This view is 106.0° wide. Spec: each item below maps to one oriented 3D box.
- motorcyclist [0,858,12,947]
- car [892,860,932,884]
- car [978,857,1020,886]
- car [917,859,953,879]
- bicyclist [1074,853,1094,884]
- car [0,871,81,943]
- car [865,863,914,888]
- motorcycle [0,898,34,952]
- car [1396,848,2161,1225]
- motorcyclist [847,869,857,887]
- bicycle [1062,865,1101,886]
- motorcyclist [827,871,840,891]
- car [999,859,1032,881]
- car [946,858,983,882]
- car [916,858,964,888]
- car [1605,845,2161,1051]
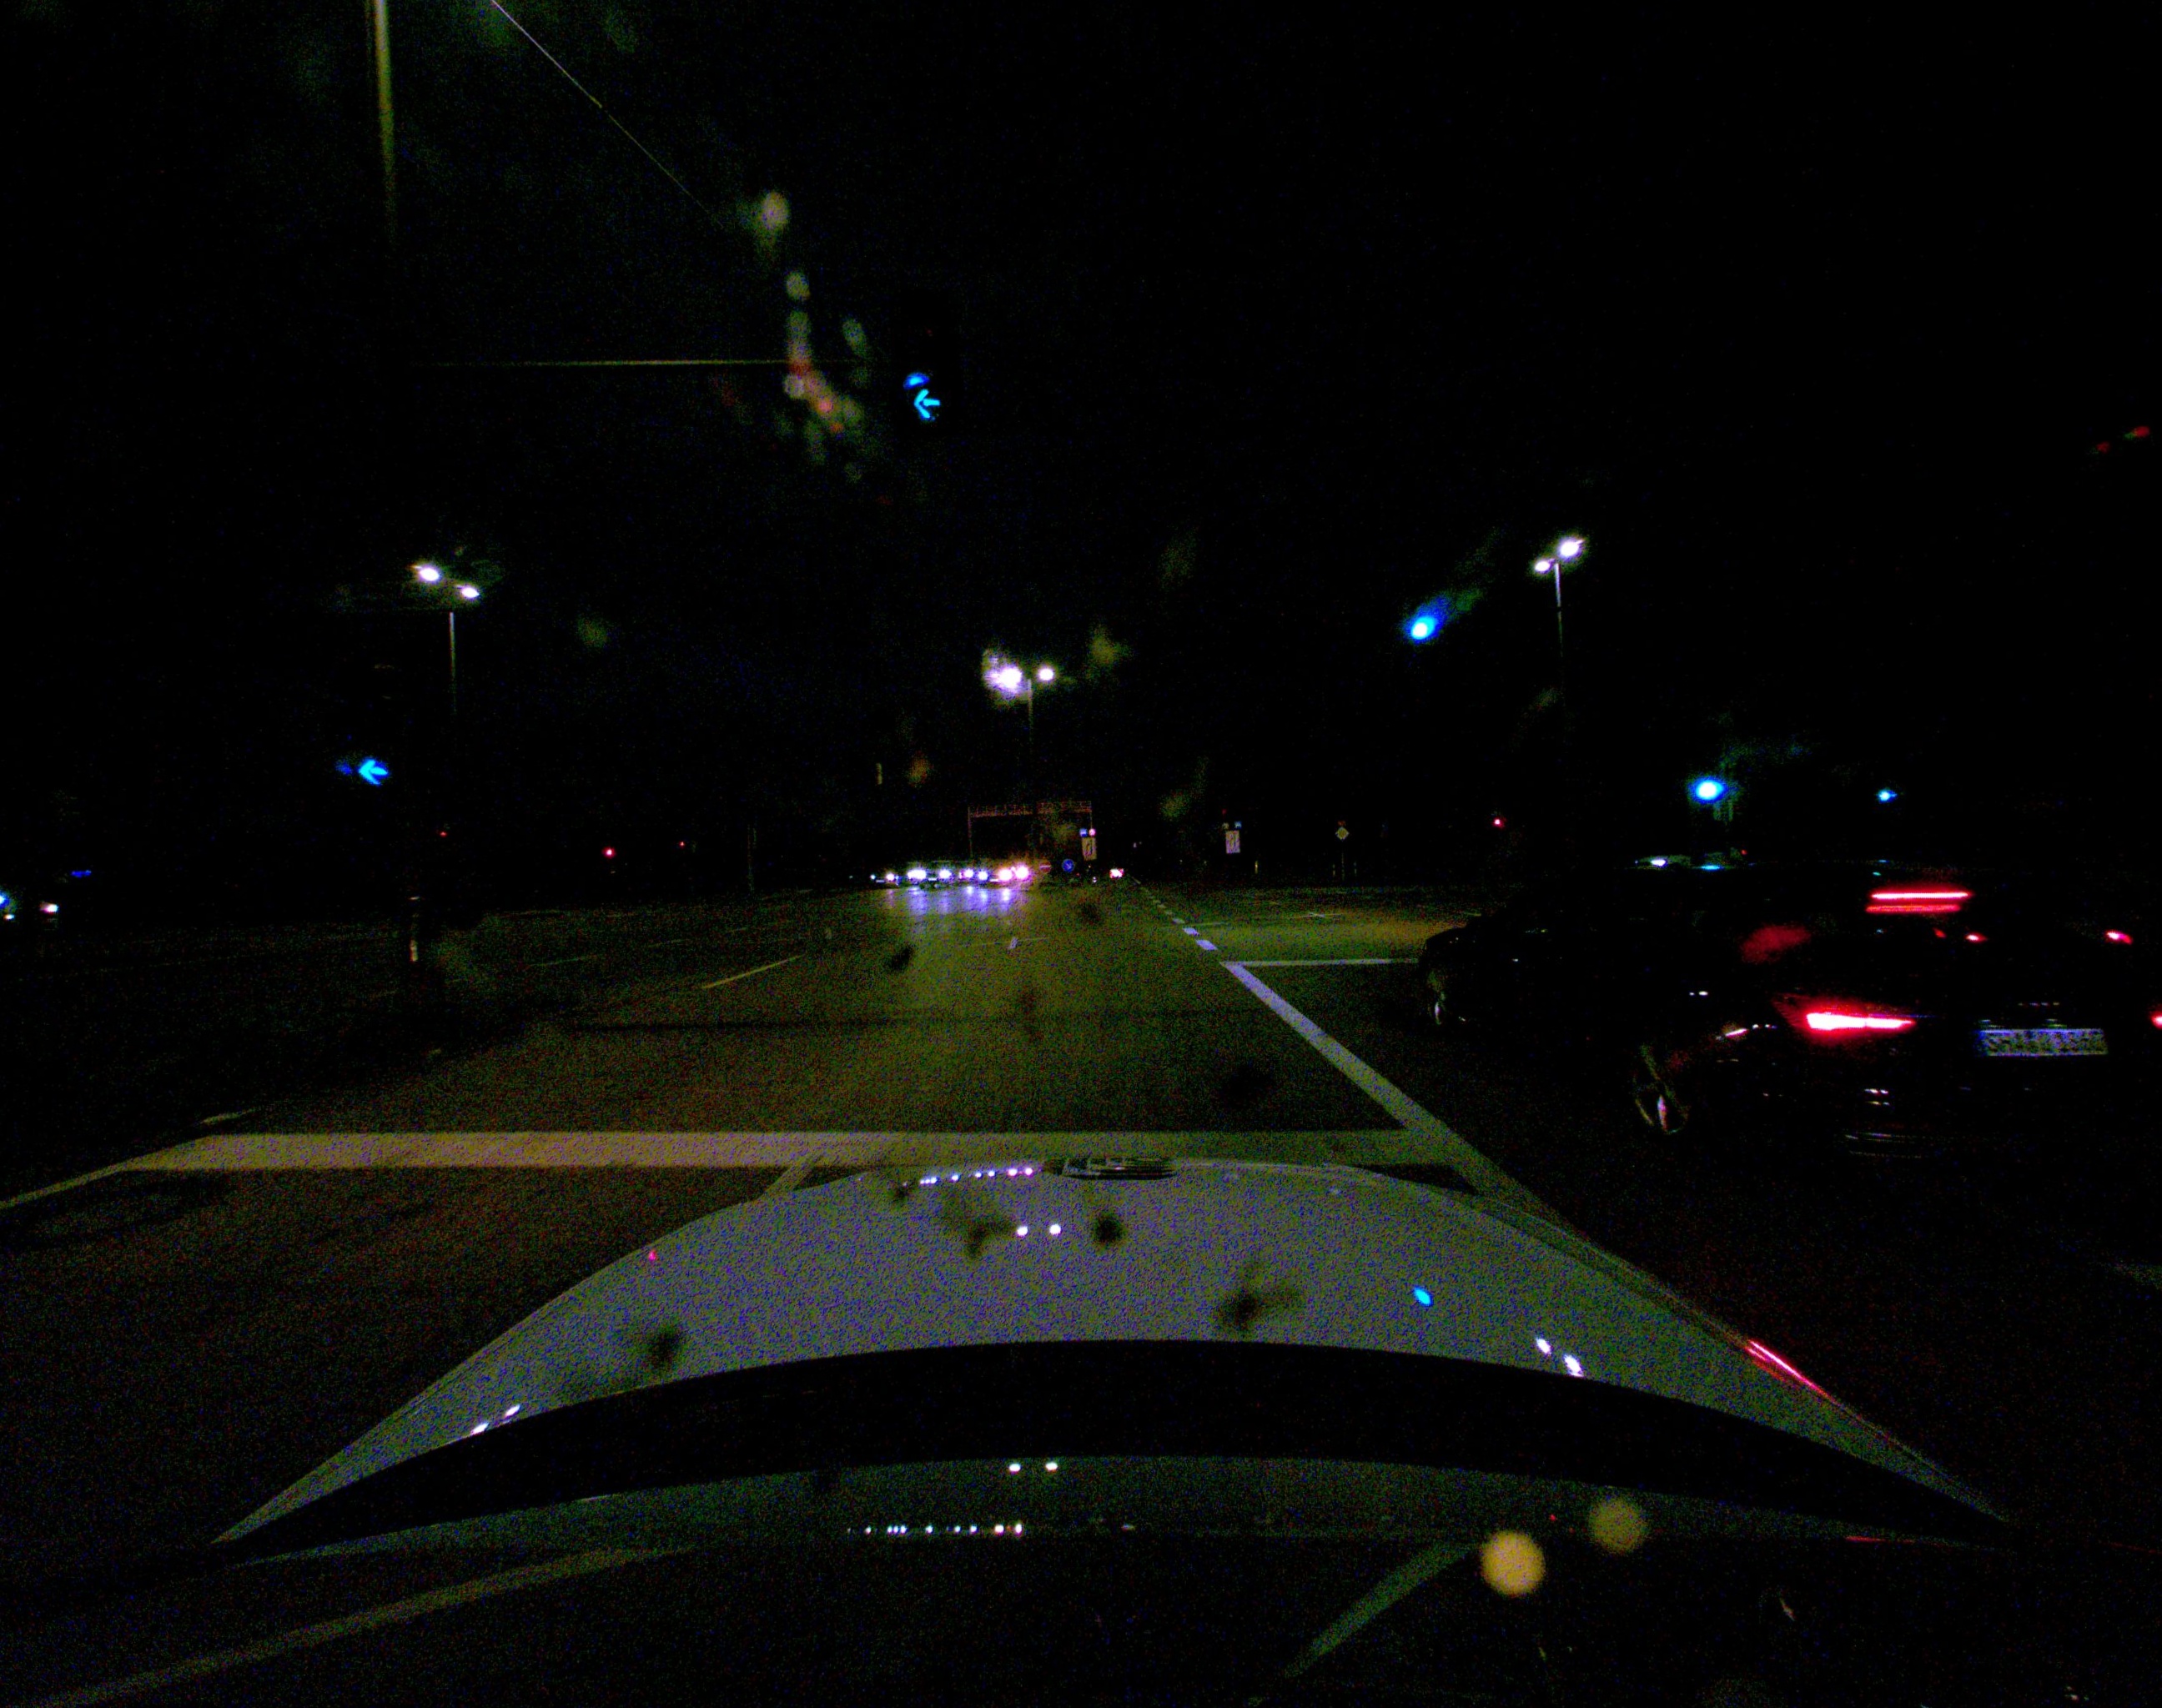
[{"bbox_3d":[-24.721,1.095,18.235,0.761,2.014,0.637,-1,-1,6],"label":"motorcyclist"},{"bbox_3d":[-12.011,1.260,58.089,1.824,1.524,4.003,-2,0,3],"label":"car"},{"bbox_3d":[-5.059,1.067,50.873,1.844,1.633,4.589,-1,0,3],"label":"car"},{"bbox_3d":[-11.661,1.181,65.322,1.824,1.390,4.400,-2,0,3],"label":"car"},{"bbox_3d":[0.158,0.781,44.397,0.995,1.651,0.603,-1,-1,-3],"label":"bicyclist"},{"bbox_3d":[-29.909,1.422,21.504,4.741,1.814,1.850,-1,-1,1],"label":"car"},{"bbox_3d":[-12.133,1.350,51.812,1.772,1.445,4.296,-1,0,5],"label":"car"},{"bbox_3d":[-24.577,1.585,18.147,1.793,1.163,0.674,-1,-1,6],"label":"motorcycle"},{"bbox_3d":[3.804,0.726,5.402,1.784,1.443,4.535,0,-1,2],"label":"car"},{"bbox_3d":[-23.878,2.532,84.829,0.680,1.759,0.789,-5,-3,-4],"label":"motorcyclist"},{"bbox_3d":[0.018,1.168,44.368,2.057,1.101,0.694,-1,-1,-4],"label":"bicycle"},{"bbox_3d":[-24.302,2.679,79.972,0.913,1.809,0.868,-6,-3,-8],"label":"motorcyclist"},{"bbox_3d":[-4.670,1.144,58.708,1.765,1.481,3.914,-1,0,4],"label":"car"},{"bbox_3d":[-8.233,1.102,58.008,1.738,1.626,4.367,-1,0,4],"label":"car"},{"bbox_3d":[-8.667,1.148,50.504,1.900,1.682,4.424,-1,0,4],"label":"car"},{"bbox_3d":[7.290,0.693,7.977,1.614,1.443,4.116,-2,-1,-1],"label":"car"}]
